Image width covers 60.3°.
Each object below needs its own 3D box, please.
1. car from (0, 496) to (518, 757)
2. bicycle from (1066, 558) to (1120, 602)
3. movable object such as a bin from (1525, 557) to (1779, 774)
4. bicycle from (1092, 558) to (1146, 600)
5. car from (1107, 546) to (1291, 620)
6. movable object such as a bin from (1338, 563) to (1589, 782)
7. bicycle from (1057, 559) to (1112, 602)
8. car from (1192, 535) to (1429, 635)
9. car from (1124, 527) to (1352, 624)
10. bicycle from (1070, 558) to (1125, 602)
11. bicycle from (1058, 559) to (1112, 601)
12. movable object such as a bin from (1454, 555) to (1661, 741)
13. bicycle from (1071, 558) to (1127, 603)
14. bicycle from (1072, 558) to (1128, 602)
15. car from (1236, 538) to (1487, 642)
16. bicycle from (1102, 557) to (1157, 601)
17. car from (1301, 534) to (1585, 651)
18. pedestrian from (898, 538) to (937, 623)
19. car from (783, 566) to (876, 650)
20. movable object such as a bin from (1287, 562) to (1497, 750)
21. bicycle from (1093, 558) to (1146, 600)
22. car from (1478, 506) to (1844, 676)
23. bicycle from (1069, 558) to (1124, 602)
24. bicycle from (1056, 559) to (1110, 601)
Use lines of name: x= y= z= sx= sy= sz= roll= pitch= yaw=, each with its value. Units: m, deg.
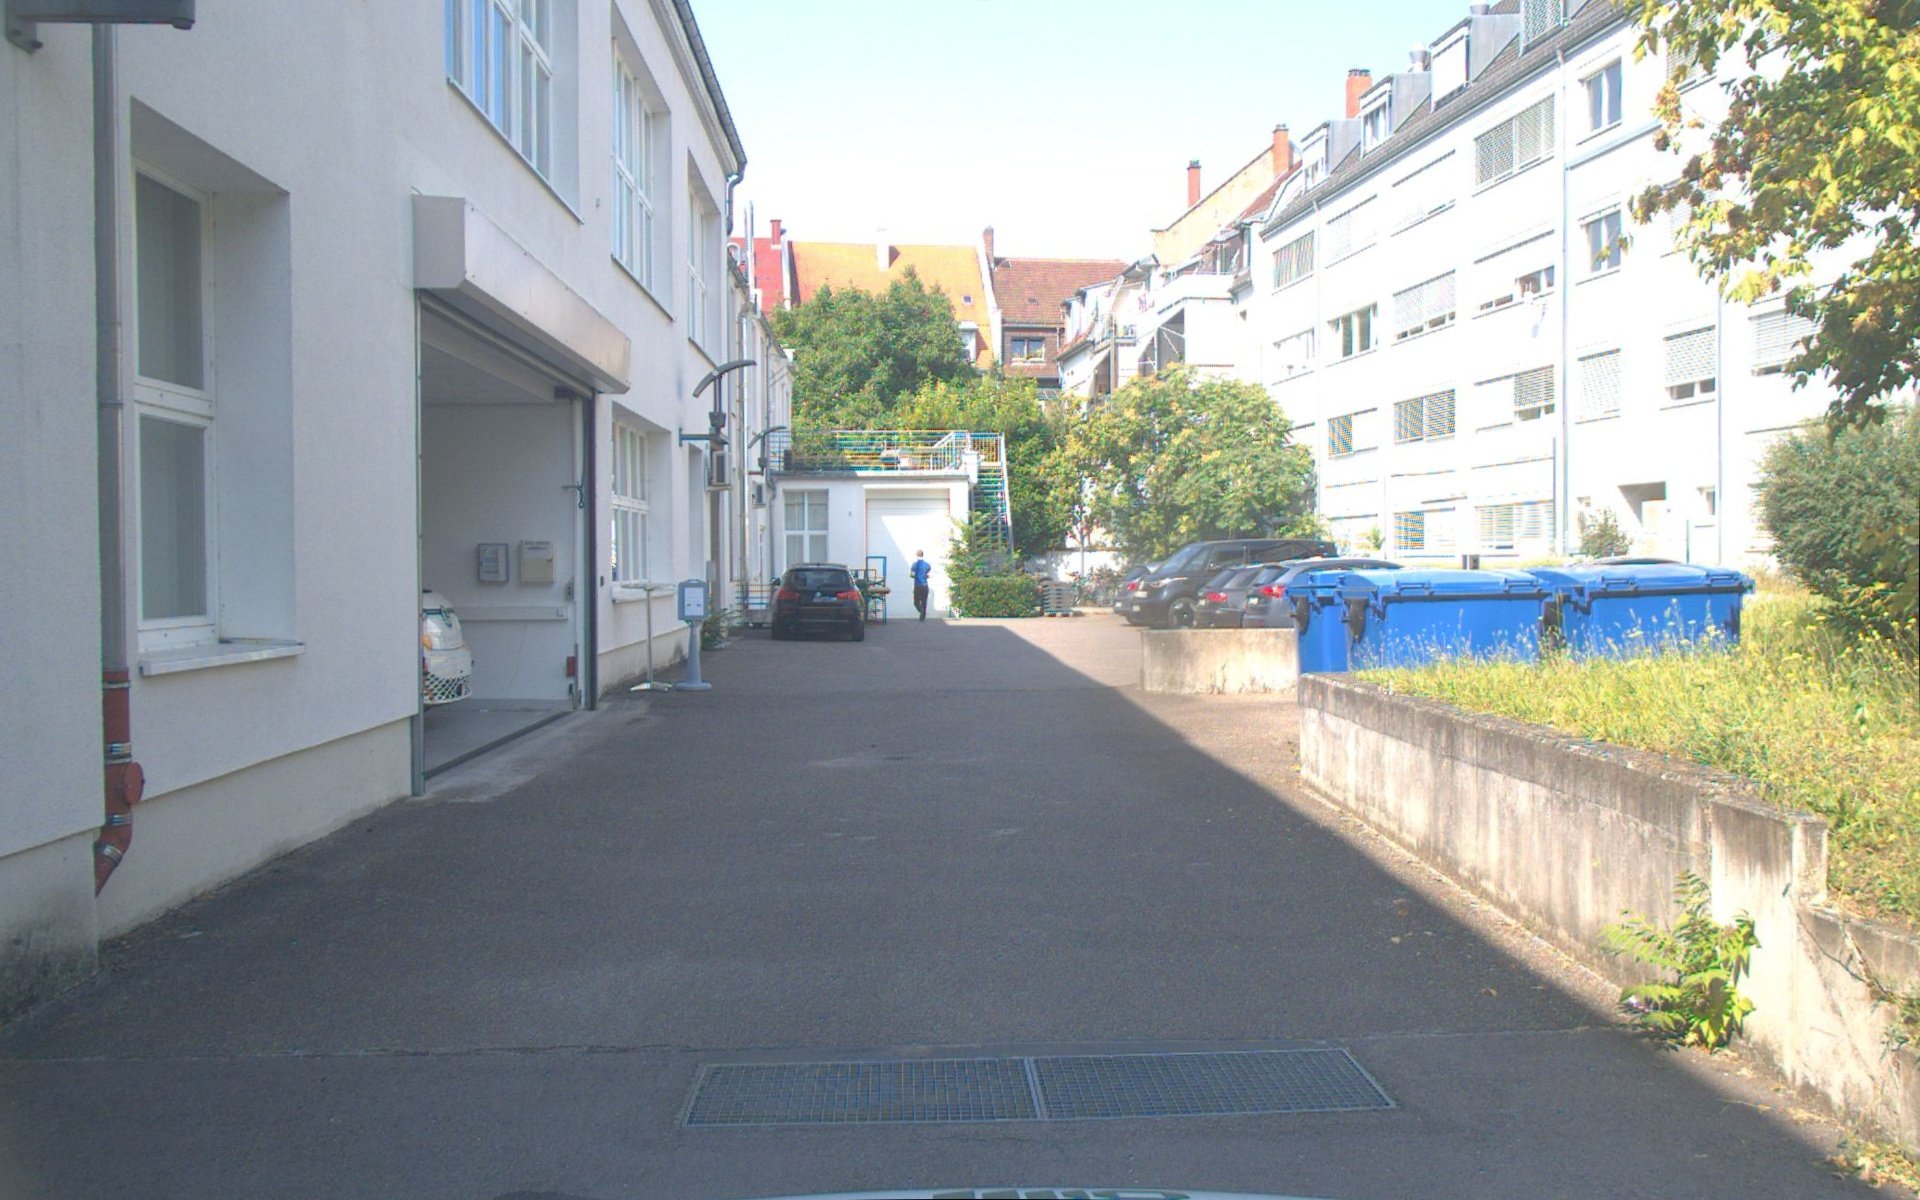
car: x=-6.662 y=0.213 z=15.129 sx=4.651 sy=2.129 sz=2.055 roll=-1 pitch=1 yaw=-2
bicycle: x=4.068 y=-0.609 z=50.601 sx=1.588 sy=1.235 sz=0.327 roll=-3 pitch=1 yaw=11
movable object such as a bin: x=4.681 y=0.414 z=11.264 sx=1.203 sy=1.363 sz=1.075 roll=-2 pitch=1 yaw=-7
bicycle: x=4.975 y=-0.655 z=51.609 sx=1.588 sy=1.235 sz=0.424 roll=-3 pitch=1 yaw=10
car: x=5.542 y=-0.396 z=38.534 sx=3.863 sy=1.508 sz=1.770 roll=-3 pitch=1 yaw=-11
movable object such as a bin: x=3.377 y=0.457 z=11.219 sx=1.284 sy=1.363 sz=1.099 roll=-2 pitch=1 yaw=-5
bicycle: x=3.860 y=-0.613 z=51.270 sx=1.591 sy=1.235 sz=0.424 roll=-3 pitch=1 yaw=-3
car: x=6.624 y=-0.302 z=31.486 sx=4.037 sy=1.721 sz=1.769 roll=-2 pitch=1 yaw=-5
car: x=5.963 y=-0.523 z=35.662 sx=4.421 sy=1.825 sz=1.878 roll=-3 pitch=1 yaw=-12
bicycle: x=4.138 y=-0.597 z=49.788 sx=1.590 sy=1.235 sz=0.327 roll=-3 pitch=1 yaw=-1
bicycle: x=3.921 y=-0.626 z=51.907 sx=1.593 sy=1.235 sz=0.423 roll=-3 pitch=1 yaw=-8
movable object such as a bin: x=4.652 y=0.350 z=12.981 sx=1.209 sy=1.363 sz=1.117 roll=-2 pitch=1 yaw=1
bicycle: x=4.123 y=-0.586 z=49.172 sx=1.590 sy=1.235 sz=0.327 roll=-3 pitch=1 yaw=-1
bicycle: x=4.177 y=-0.593 z=49.496 sx=1.590 sy=1.235 sz=0.327 roll=-3 pitch=1 yaw=-1
car: x=6.914 y=-0.182 z=28.678 sx=3.789 sy=1.616 sz=1.876 roll=-2 pitch=1 yaw=-7
bicycle: x=5.143 y=-0.636 z=50.179 sx=1.588 sy=1.235 sz=0.327 roll=-3 pitch=1 yaw=13
car: x=7.400 y=-0.133 z=25.492 sx=3.732 sy=1.616 sz=1.892 roll=-2 pitch=1 yaw=-12
pedestrian: x=-1.067 y=-0.492 z=41.190 sx=0.895 sy=2.048 sz=0.934 roll=-2 pitch=1 yaw=-2
car: x=-2.499 y=0.108 z=32.185 sx=1.655 sy=1.484 sz=3.920 roll=-2 pitch=1 yaw=-4
movable object such as a bin: x=3.353 y=0.409 z=12.971 sx=1.274 sy=1.363 sz=1.194 roll=-2 pitch=1 yaw=-3
bicycle: x=5.079 y=-0.677 z=52.640 sx=1.588 sy=1.235 sz=0.424 roll=-3 pitch=1 yaw=10
car: x=8.380 y=-0.125 z=19.970 sx=3.549 sy=1.571 sz=1.801 roll=-6 pitch=1 yaw=-4
bicycle: x=4.157 y=-0.605 z=50.240 sx=1.588 sy=1.235 sz=0.327 roll=-3 pitch=1 yaw=8
bicycle: x=3.895 y=-0.636 z=52.508 sx=1.592 sy=1.235 sz=0.423 roll=-3 pitch=1 yaw=-7
